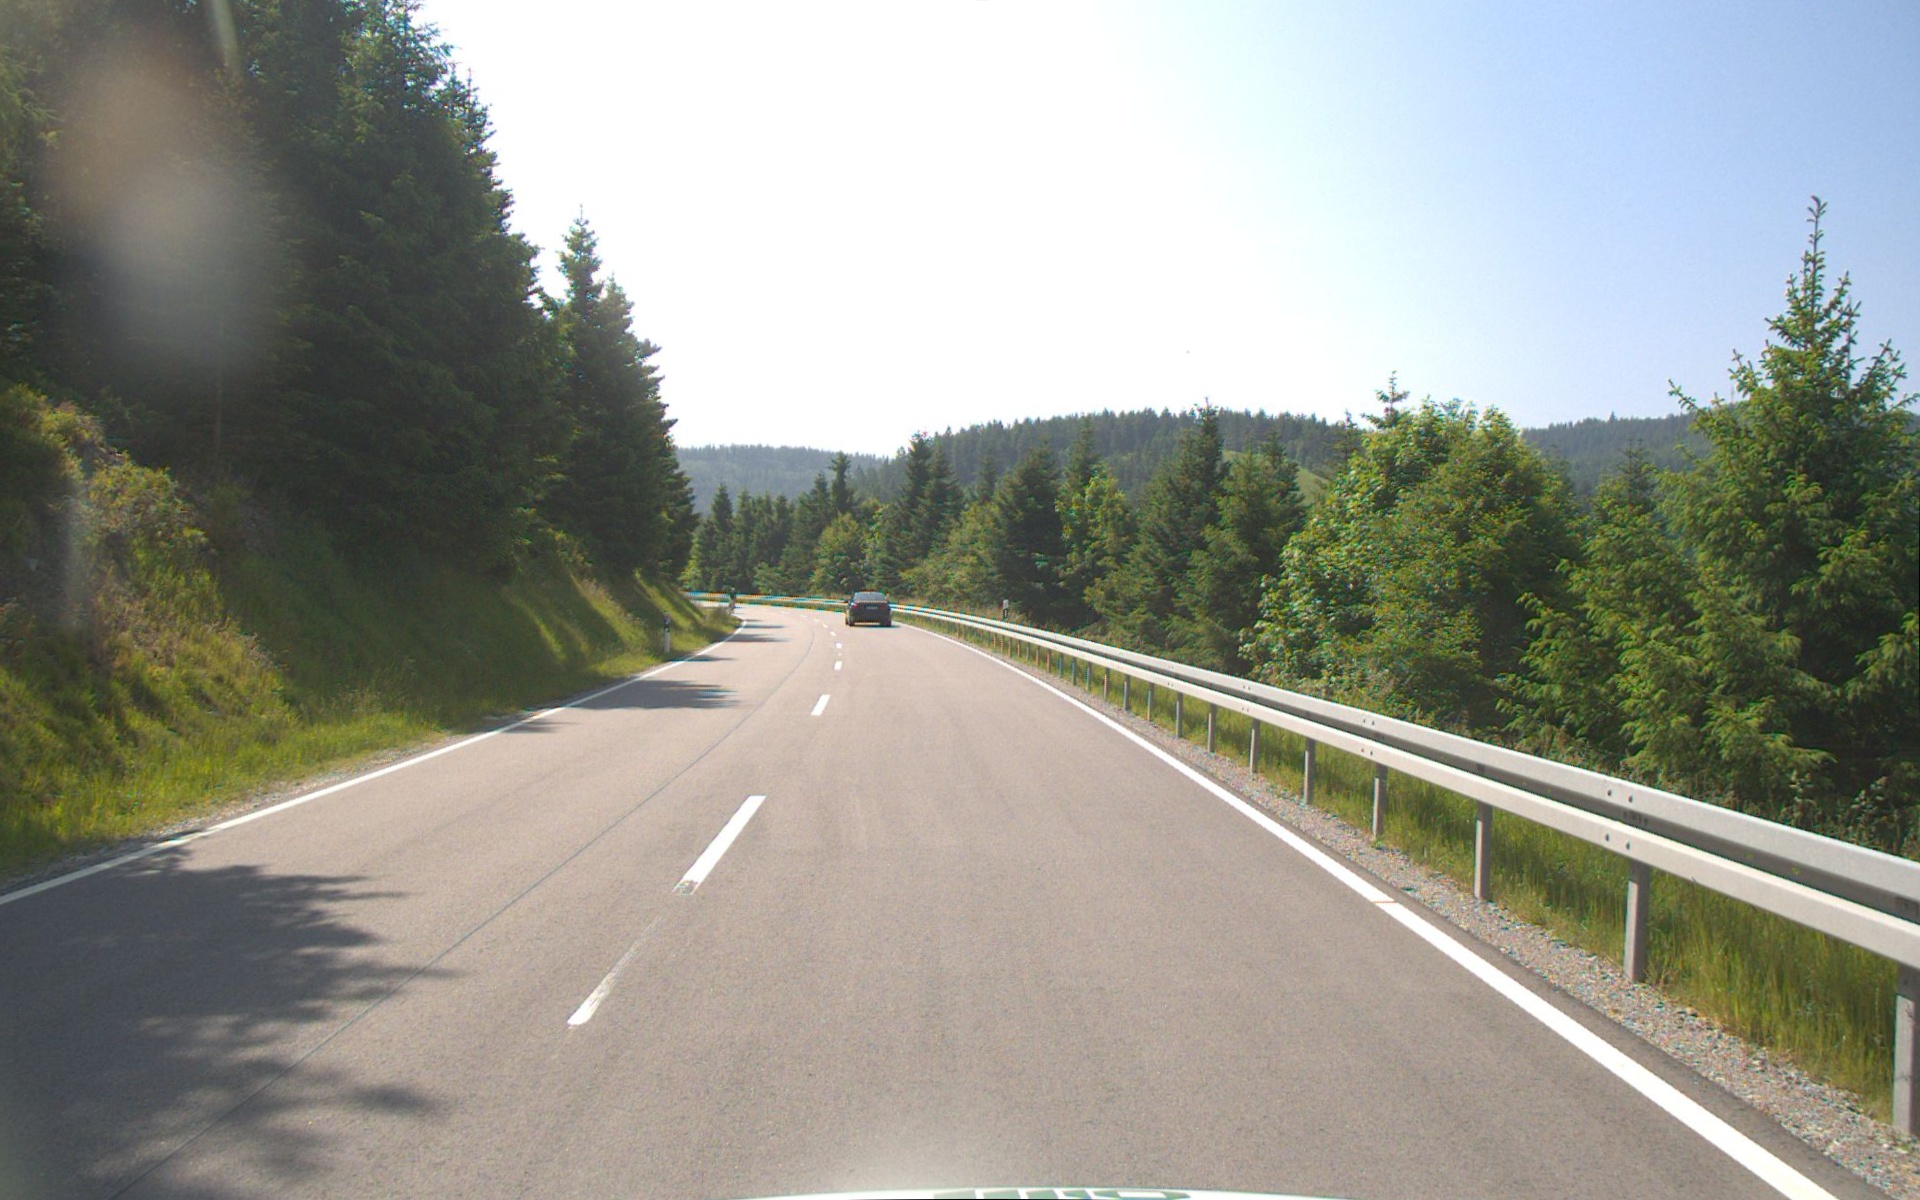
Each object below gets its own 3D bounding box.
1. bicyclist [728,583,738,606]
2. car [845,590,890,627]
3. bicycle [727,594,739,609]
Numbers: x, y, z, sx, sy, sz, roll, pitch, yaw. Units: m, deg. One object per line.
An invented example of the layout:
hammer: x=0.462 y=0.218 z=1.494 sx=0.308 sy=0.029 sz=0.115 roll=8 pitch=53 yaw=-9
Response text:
bicyclist: x=-14.282 y=-0.349 z=104.045 sx=0.532 sy=1.476 sz=0.980 roll=-1 pitch=0 yaw=-14
car: x=-3.936 y=0.337 z=70.061 sx=1.742 sy=1.467 sz=3.704 roll=-1 pitch=0 yaw=-6
bicycle: x=-14.289 y=0.071 z=104.129 sx=0.543 sy=0.902 sz=2.055 roll=-1 pitch=0 yaw=-14
